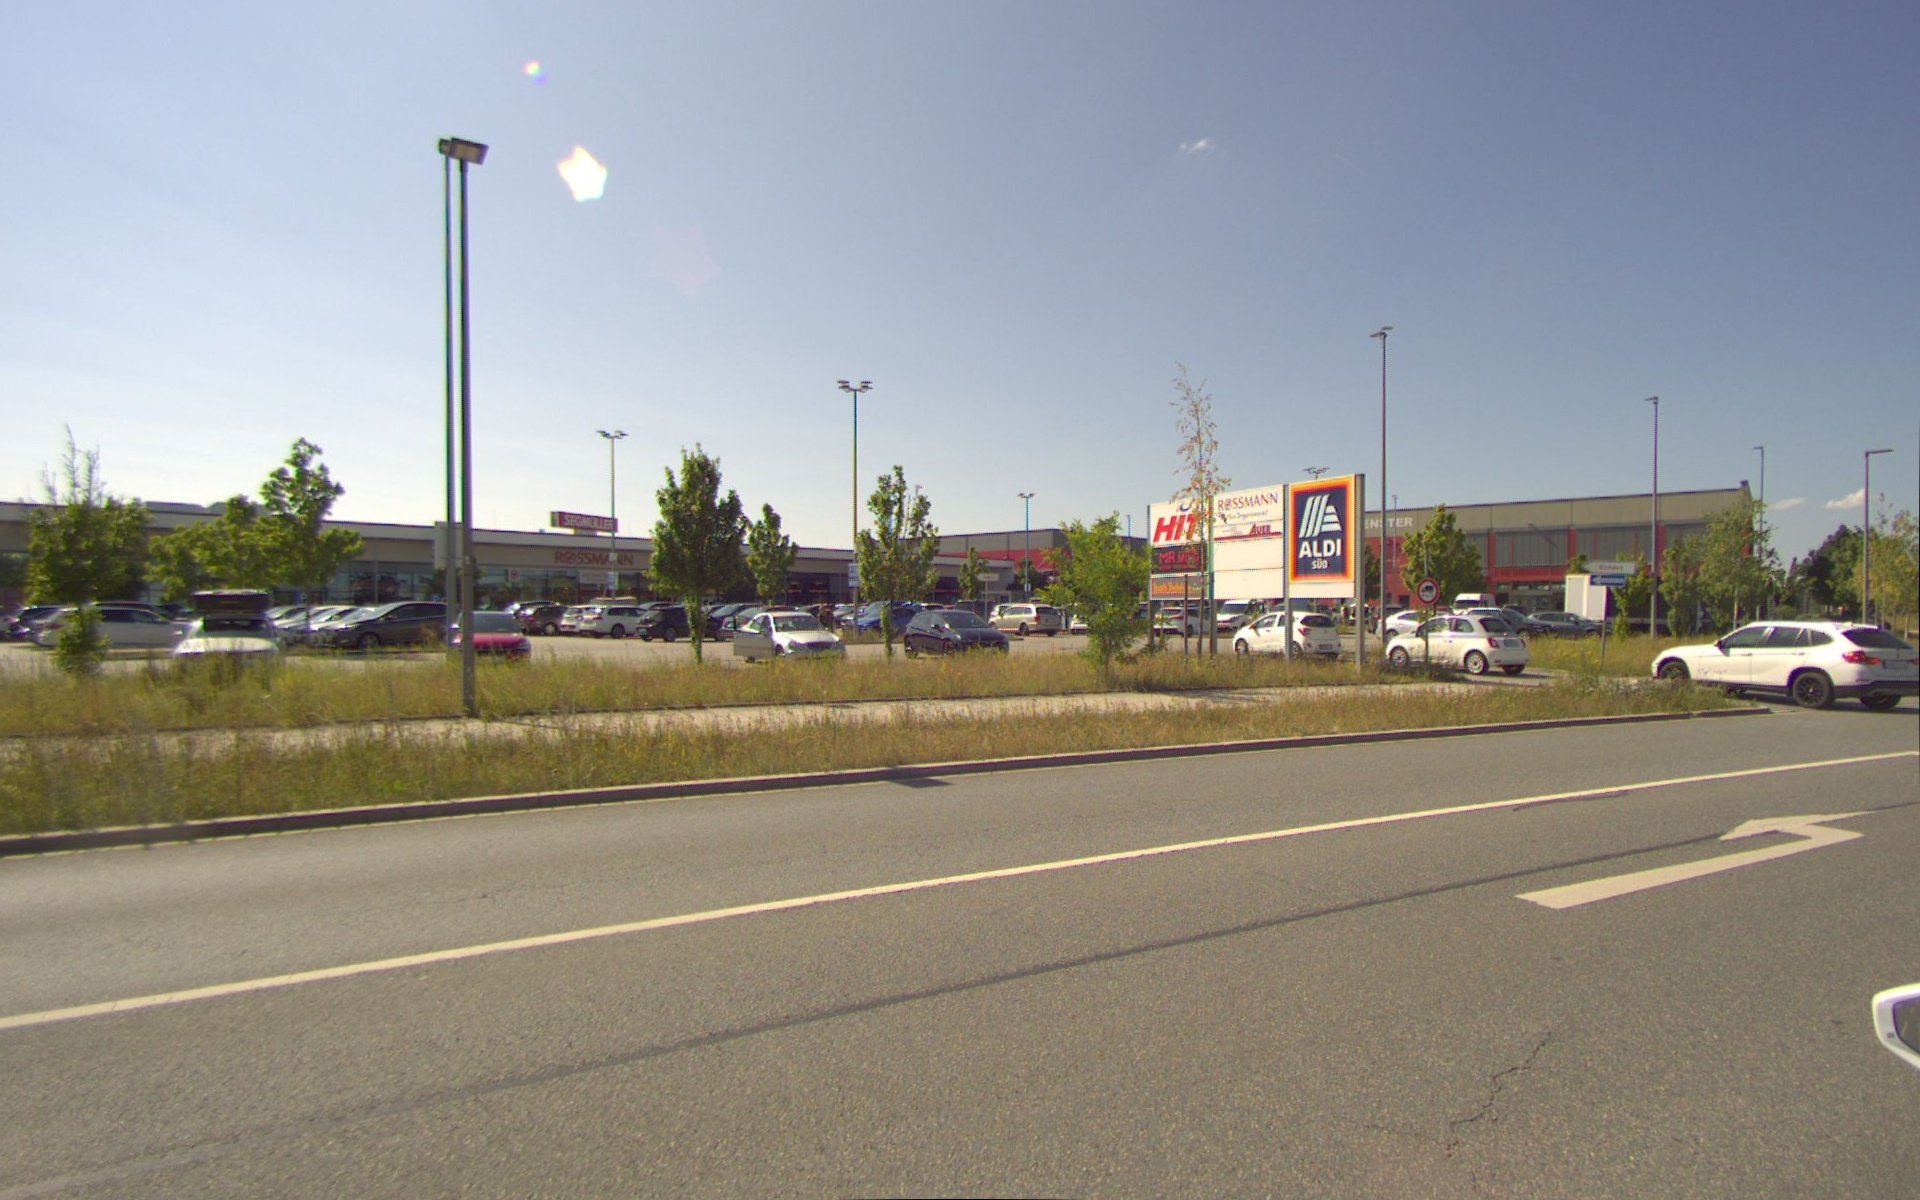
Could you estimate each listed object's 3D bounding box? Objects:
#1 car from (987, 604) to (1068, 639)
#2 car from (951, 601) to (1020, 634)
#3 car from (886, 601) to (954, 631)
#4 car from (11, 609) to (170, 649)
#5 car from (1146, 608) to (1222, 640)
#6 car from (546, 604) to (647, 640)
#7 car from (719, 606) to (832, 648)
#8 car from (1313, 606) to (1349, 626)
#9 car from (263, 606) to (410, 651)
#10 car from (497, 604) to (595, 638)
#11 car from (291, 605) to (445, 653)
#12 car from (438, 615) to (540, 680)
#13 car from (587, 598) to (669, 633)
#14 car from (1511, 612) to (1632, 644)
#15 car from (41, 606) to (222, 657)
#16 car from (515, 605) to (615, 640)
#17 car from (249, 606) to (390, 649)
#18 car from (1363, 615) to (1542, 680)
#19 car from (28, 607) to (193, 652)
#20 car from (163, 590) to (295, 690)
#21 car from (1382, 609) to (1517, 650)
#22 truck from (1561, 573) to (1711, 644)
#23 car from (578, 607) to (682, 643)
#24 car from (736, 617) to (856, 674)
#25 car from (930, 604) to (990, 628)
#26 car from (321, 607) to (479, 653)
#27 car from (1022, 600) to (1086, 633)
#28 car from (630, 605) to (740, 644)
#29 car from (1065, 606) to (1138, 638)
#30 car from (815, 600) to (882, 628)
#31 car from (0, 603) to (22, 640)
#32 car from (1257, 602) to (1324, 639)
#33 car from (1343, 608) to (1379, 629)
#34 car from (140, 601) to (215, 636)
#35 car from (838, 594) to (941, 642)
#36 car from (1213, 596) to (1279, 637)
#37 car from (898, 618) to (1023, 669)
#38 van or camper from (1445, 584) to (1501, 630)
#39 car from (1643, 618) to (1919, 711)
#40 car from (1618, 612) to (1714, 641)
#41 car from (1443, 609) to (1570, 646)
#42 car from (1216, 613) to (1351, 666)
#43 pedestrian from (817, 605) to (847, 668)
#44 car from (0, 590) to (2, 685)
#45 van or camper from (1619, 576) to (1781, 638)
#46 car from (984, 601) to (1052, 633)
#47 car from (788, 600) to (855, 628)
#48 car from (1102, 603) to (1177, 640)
[{"bbox_3d":[3.213,1.004,48.214,1.822,1.568,3.961,1,-1,-35],"label":"car"},{"bbox_3d":[1.512,1.013,58.663,1.886,1.817,4.366,0,-1,36],"label":"car"},{"bbox_3d":[-2.431,0.981,62.093,1.886,1.748,4.366,0,-1,36],"label":"car"},{"bbox_3d":[-32.597,1.044,37.750,1.692,1.436,4.332,0,-1,41],"label":"car"},{"bbox_3d":[11.089,1.173,49.554,1.811,1.532,4.360,0,-1,40],"label":"car"},{"bbox_3d":[-17.320,1.024,48.050,1.691,1.637,4.335,0,-1,39],"label":"car"},{"bbox_3d":[-7.162,1.021,39.326,1.691,1.536,4.335,0,-1,39],"label":"car"},{"bbox_3d":[30.479,1.325,82.477,1.640,1.636,4.068,0,-1,37],"label":"car"},{"bbox_3d":[-22.985,1.018,37.169,1.691,1.592,4.335,0,-1,39],"label":"car"},{"bbox_3d":[-21.110,1.053,51.310,1.758,1.617,4.335,0,-1,39],"label":"car"},{"bbox_3d":[-20.632,0.972,35.153,1.691,1.570,4.335,0,-1,39],"label":"car"},{"bbox_3d":[-11.245,1.055,23.836,1.913,1.366,4.125,0,-1,-29],"label":"car"},{"bbox_3d":[-19.316,0.883,58.500,1.691,1.985,4.335,0,-1,39],"label":"car"},{"bbox_3d":[28.085,1.262,46.263,1.955,1.402,4.395,1,-1,-35],"label":"car"},{"bbox_3d":[-26.770,0.988,32.571,1.692,1.546,4.332,0,-1,41],"label":"car"},{"bbox_3d":[-19.481,1.086,49.700,1.691,1.623,4.335,0,-1,39],"label":"car"},{"bbox_3d":[-24.799,1.034,39.036,1.691,1.553,4.335,0,-1,39],"label":"car"},{"bbox_3d":[12.967,1.191,26.707,1.892,1.568,3.974,1,-1,-26],"label":"car"},{"bbox_3d":[-30.238,1.013,35.866,1.692,1.497,4.332,0,-1,41],"label":"car"},{"bbox_3d":[-15.292,0.784,21.220,1.911,1.886,4.122,0,-1,-31],"label":"car"},{"bbox_3d":[19.572,1.141,40.325,1.820,1.532,4.576,1,-1,-35],"label":"car"},{"bbox_3d":[34.912,0.494,51.888,7.373,3.510,2.316,1,0,-17],"label":"truck"},{"bbox_3d":[-15.127,1.134,46.196,1.691,1.565,4.335,0,-1,39],"label":"car"},{"bbox_3d":[-4.485,1.155,27.048,1.913,1.366,4.125,0,-1,-29],"label":"car"},{"bbox_3d":[0.038,1.086,69.187,1.811,1.613,4.360,0,-1,40],"label":"car"},{"bbox_3d":[-18.710,0.965,33.715,1.691,1.436,4.335,0,-1,39],"label":"car"},{"bbox_3d":[5.226,0.878,55.408,1.883,1.740,4.373,0,-1,30],"label":"car"},{"bbox_3d":[-11.516,1.000,42.316,1.691,1.581,4.335,0,-1,39],"label":"car"},{"bbox_3d":[7.614,1.150,53.768,1.889,1.639,4.360,0,-1,40],"label":"car"},{"bbox_3d":[-7.212,0.936,65.259,1.886,1.762,4.366,0,-1,36],"label":"car"},{"bbox_3d":[-42.138,0.901,43.166,4.283,1.545,1.828,0,-1,35],"label":"car"},{"bbox_3d":[17.384,1.077,52.700,1.811,1.848,4.360,0,-1,40],"label":"car"},{"bbox_3d":[31.873,1.466,79.862,1.640,1.636,4.068,0,-1,37],"label":"car"},{"bbox_3d":[-38.097,0.881,48.887,4.283,1.647,1.712,0,-1,35],"label":"car"},{"bbox_3d":[-3.031,0.767,44.196,1.691,2.012,4.813,0,-1,39],"label":"car"},{"bbox_3d":[15.416,0.886,54.011,1.811,2.092,4.360,0,-1,40],"label":"car"},{"bbox_3d":[-0.061,1.222,29.515,1.913,1.366,4.125,0,-1,-29],"label":"car"},{"bbox_3d":[39.086,0.568,76.442,2.400,3.315,7.203,0,-1,39],"label":"van or camper"},{"bbox_3d":[15.957,1.164,19.636,1.884,1.568,4.217,1,-1,-11],"label":"car"},{"bbox_3d":[40.813,1.526,58.142,4.322,1.573,1.827,0,-1,44],"label":"car"},{"bbox_3d":[23.612,1.156,43.578,1.819,1.478,4.546,1,-1,-35],"label":"car"},{"bbox_3d":[10.322,1.210,32.320,1.893,1.568,3.973,1,-1,-27],"label":"car"},{"bbox_3d":[-3.545,1.001,27.803,0.571,1.717,0.761,1,0,-29],"label":"pedestrian"},{"bbox_3d":[-19.515,0.756,18.421,1.980,1.991,5.644,0,-1,-35],"label":"car"},{"bbox_3d":[44.509,0.437,60.631,2.539,3.514,7.615,1,-1,-45],"label":"van or camper"},{"bbox_3d":[3.340,0.966,57.127,1.886,1.749,4.368,0,-1,35],"label":"car"},{"bbox_3d":[-9.107,0.909,66.499,1.886,1.784,4.366,0,-1,36],"label":"car"},{"bbox_3d":[9.277,1.096,51.745,1.889,1.827,4.360,0,-1,40],"label":"car"}]
